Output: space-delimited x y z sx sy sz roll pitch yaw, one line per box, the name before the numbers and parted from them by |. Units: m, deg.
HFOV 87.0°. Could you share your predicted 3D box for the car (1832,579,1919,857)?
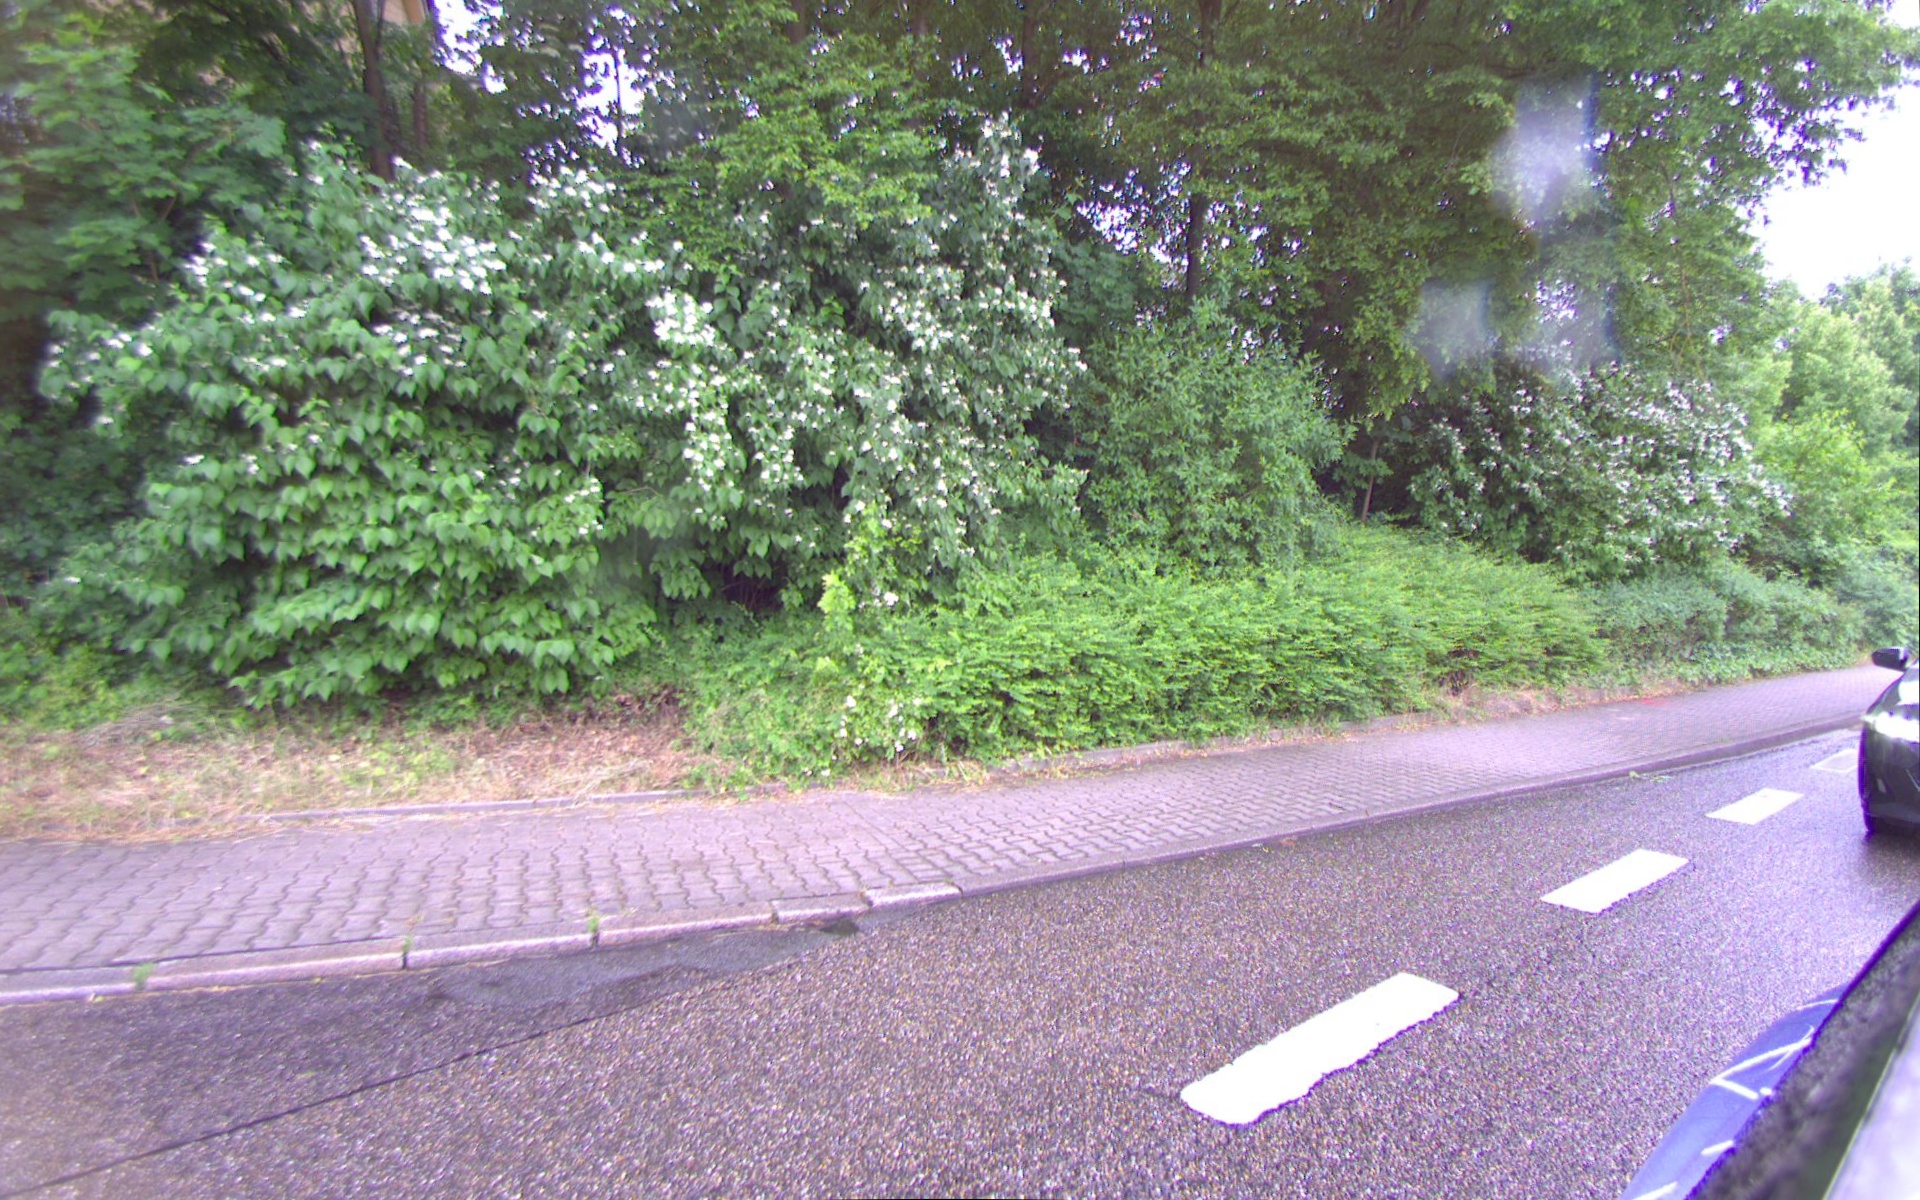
car | 7.336 0.682 6.309 4.118 1.524 1.875 0 4 -35
